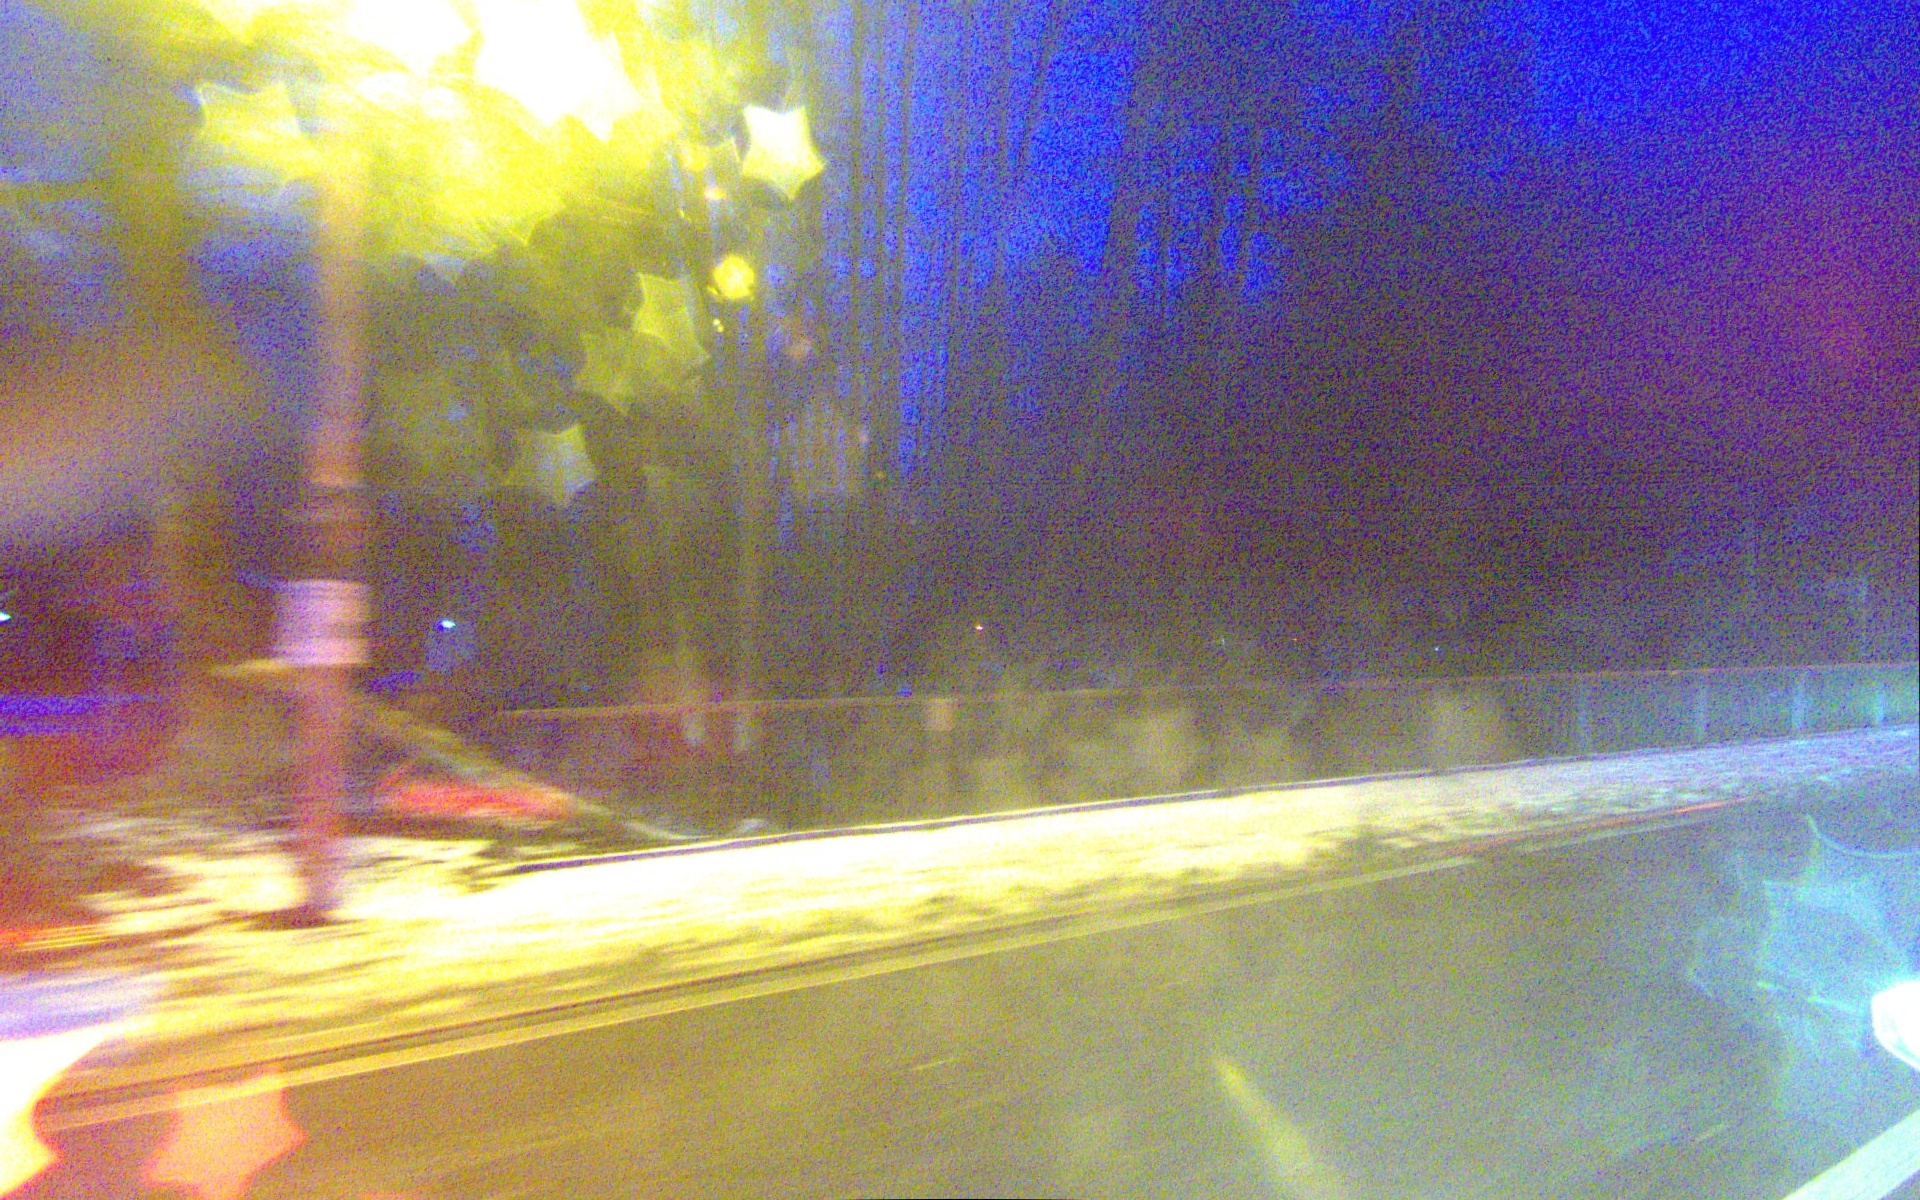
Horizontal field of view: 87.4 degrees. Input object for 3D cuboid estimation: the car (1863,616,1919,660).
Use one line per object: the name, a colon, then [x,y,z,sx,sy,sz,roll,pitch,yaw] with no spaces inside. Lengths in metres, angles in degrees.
car: [42.108,1.712,43.352,1.970,1.823,4.193,2,0,-21]

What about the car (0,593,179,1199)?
car: [-3.459,0.717,0.674,4.302,1.565,1.867,2,-5,-29]
